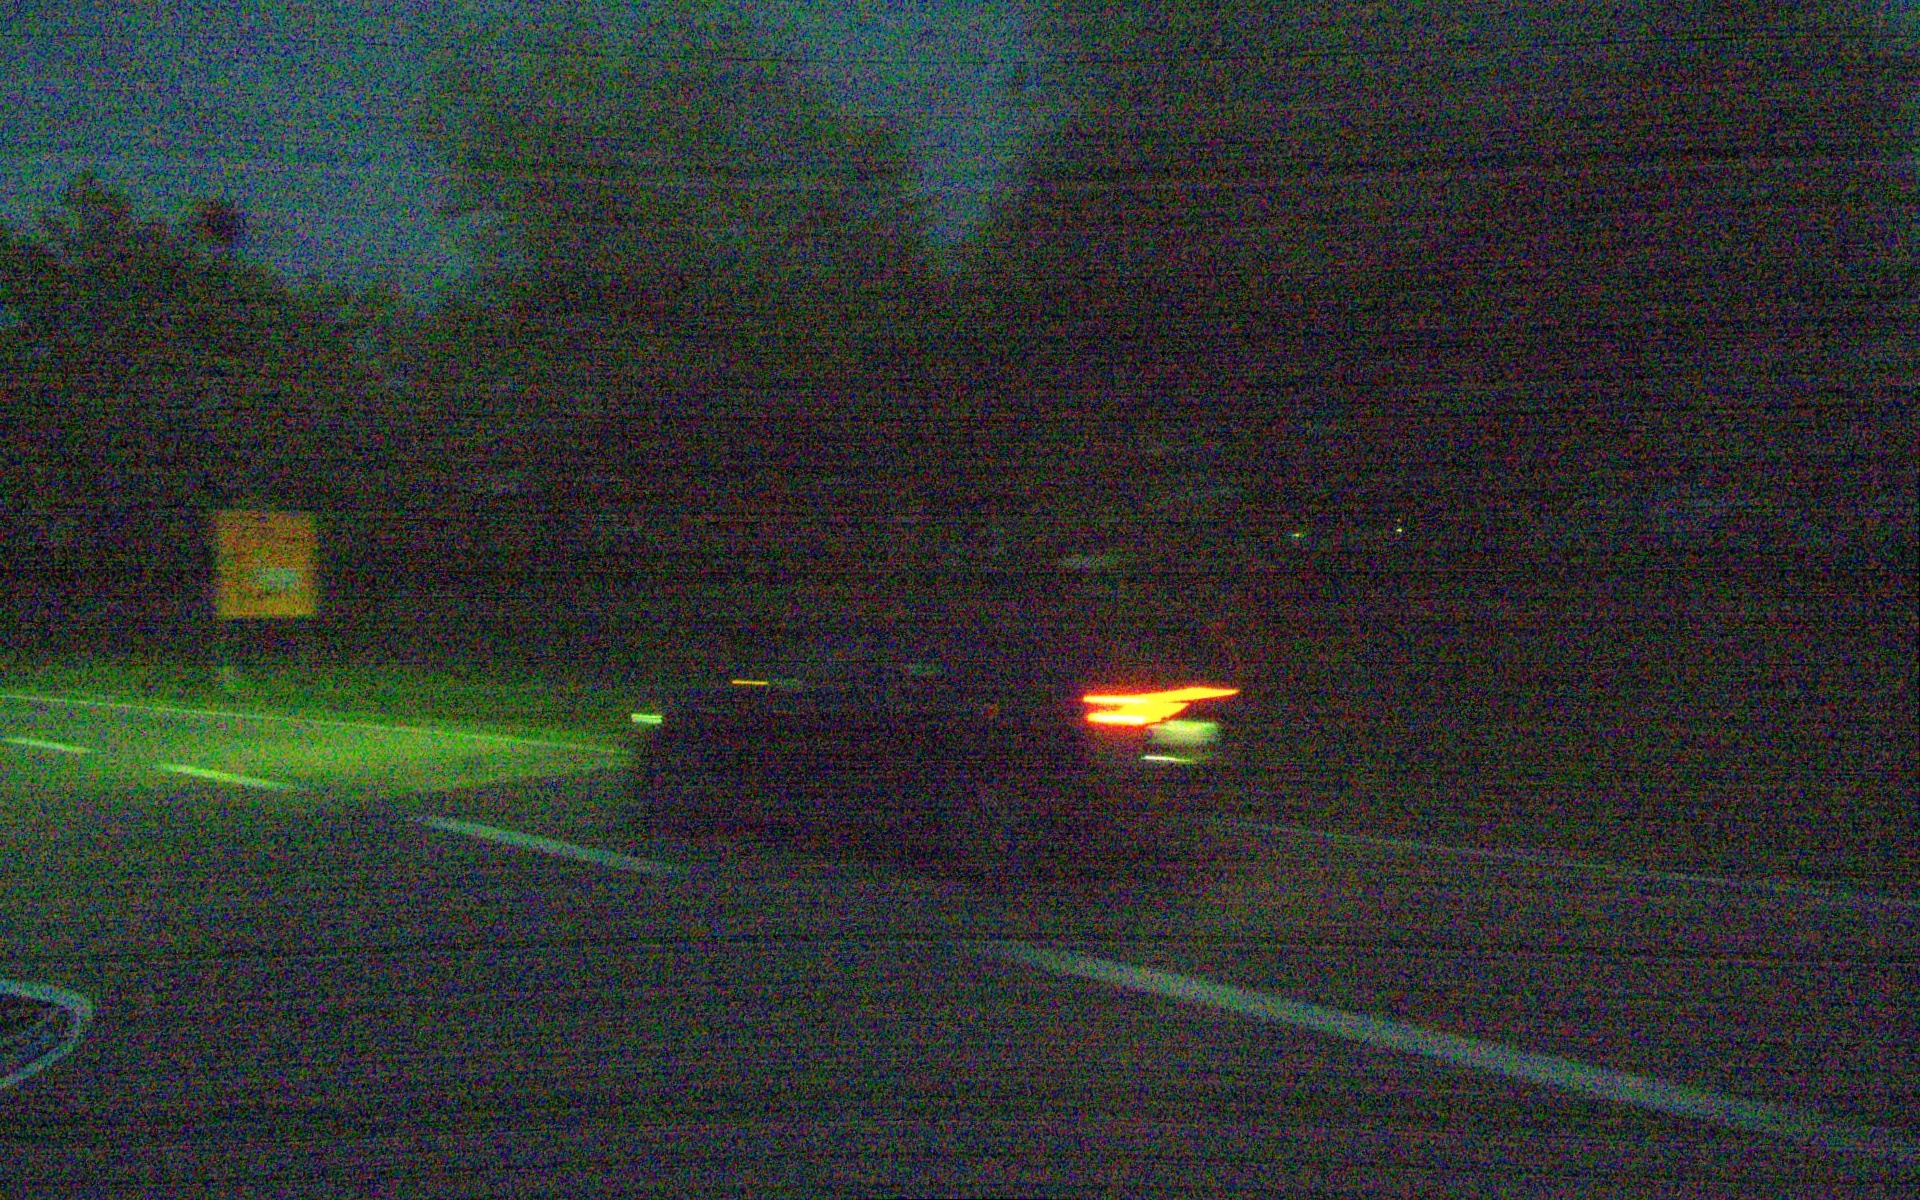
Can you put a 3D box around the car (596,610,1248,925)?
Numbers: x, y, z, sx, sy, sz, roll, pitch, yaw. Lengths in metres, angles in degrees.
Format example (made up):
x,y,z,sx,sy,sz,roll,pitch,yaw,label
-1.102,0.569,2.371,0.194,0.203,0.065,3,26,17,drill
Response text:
x,y,z,sx,sy,sz,roll,pitch,yaw,label
-0.424,0.918,7.264,4.493,1.641,1.896,-1,-1,34,car
